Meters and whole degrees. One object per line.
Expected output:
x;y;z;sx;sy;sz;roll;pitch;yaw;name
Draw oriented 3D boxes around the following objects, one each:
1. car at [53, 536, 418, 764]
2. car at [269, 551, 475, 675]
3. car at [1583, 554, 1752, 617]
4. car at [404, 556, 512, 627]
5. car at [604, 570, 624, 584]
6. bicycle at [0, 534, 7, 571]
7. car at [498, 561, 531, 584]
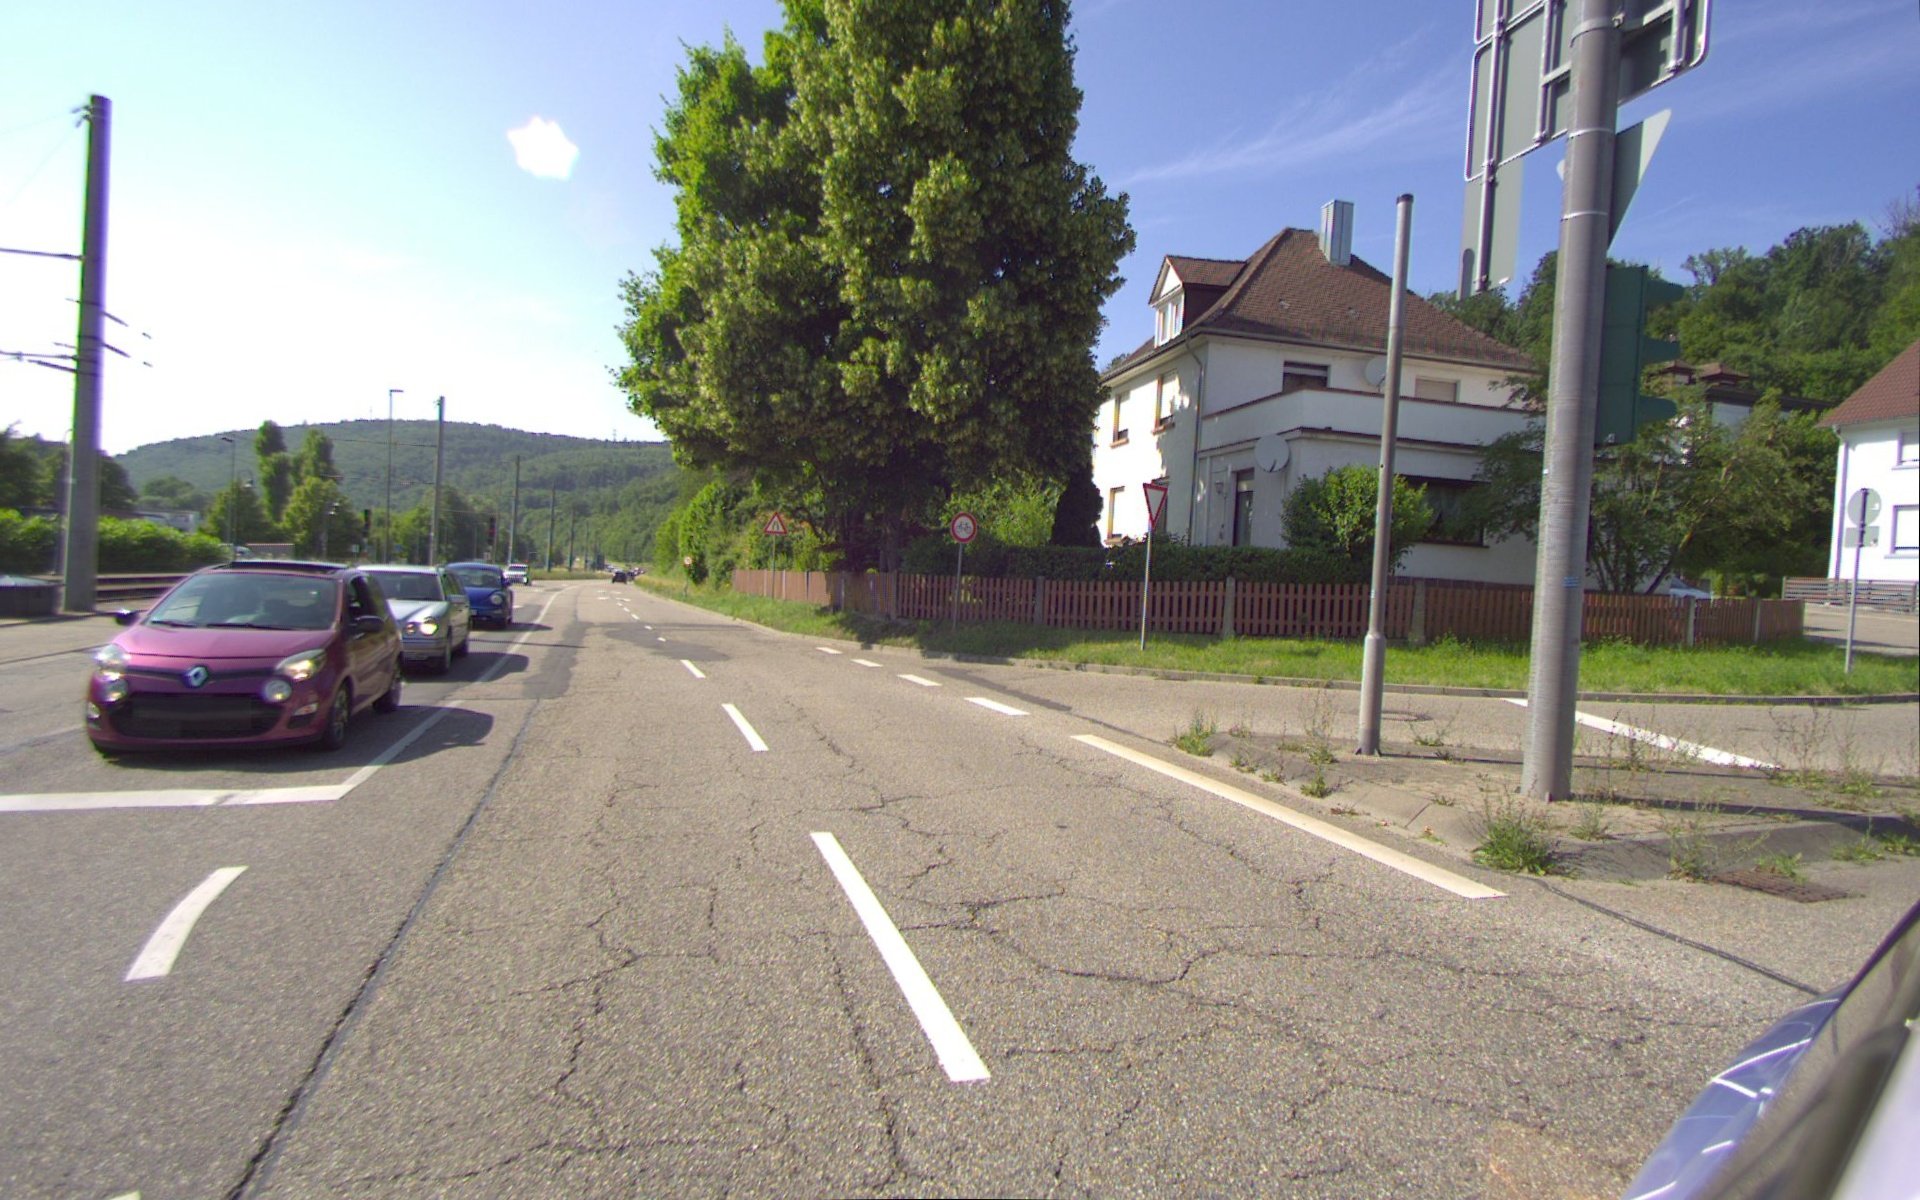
-6.089;0.315;9.042;1.627;1.553;3.964;1;1;-20;car
-8.456;0.143;15.001;1.939;1.523;4.760;0;0;-21;car
20.148;-0.405;29.059;1.902;1.658;4.003;0;0;-3;car
-11.750;-0.202;23.938;1.939;1.523;3.995;0;0;-21;car
-42.488;-2.817;124.274;1.958;1.705;4.007;0;0;-24;car
-33.376;-1.624;34.080;0.855;1.270;2.300;0;0;-15;bicycle
-32.085;-2.008;72.952;1.958;1.604;4.009;-1;1;-21;car
